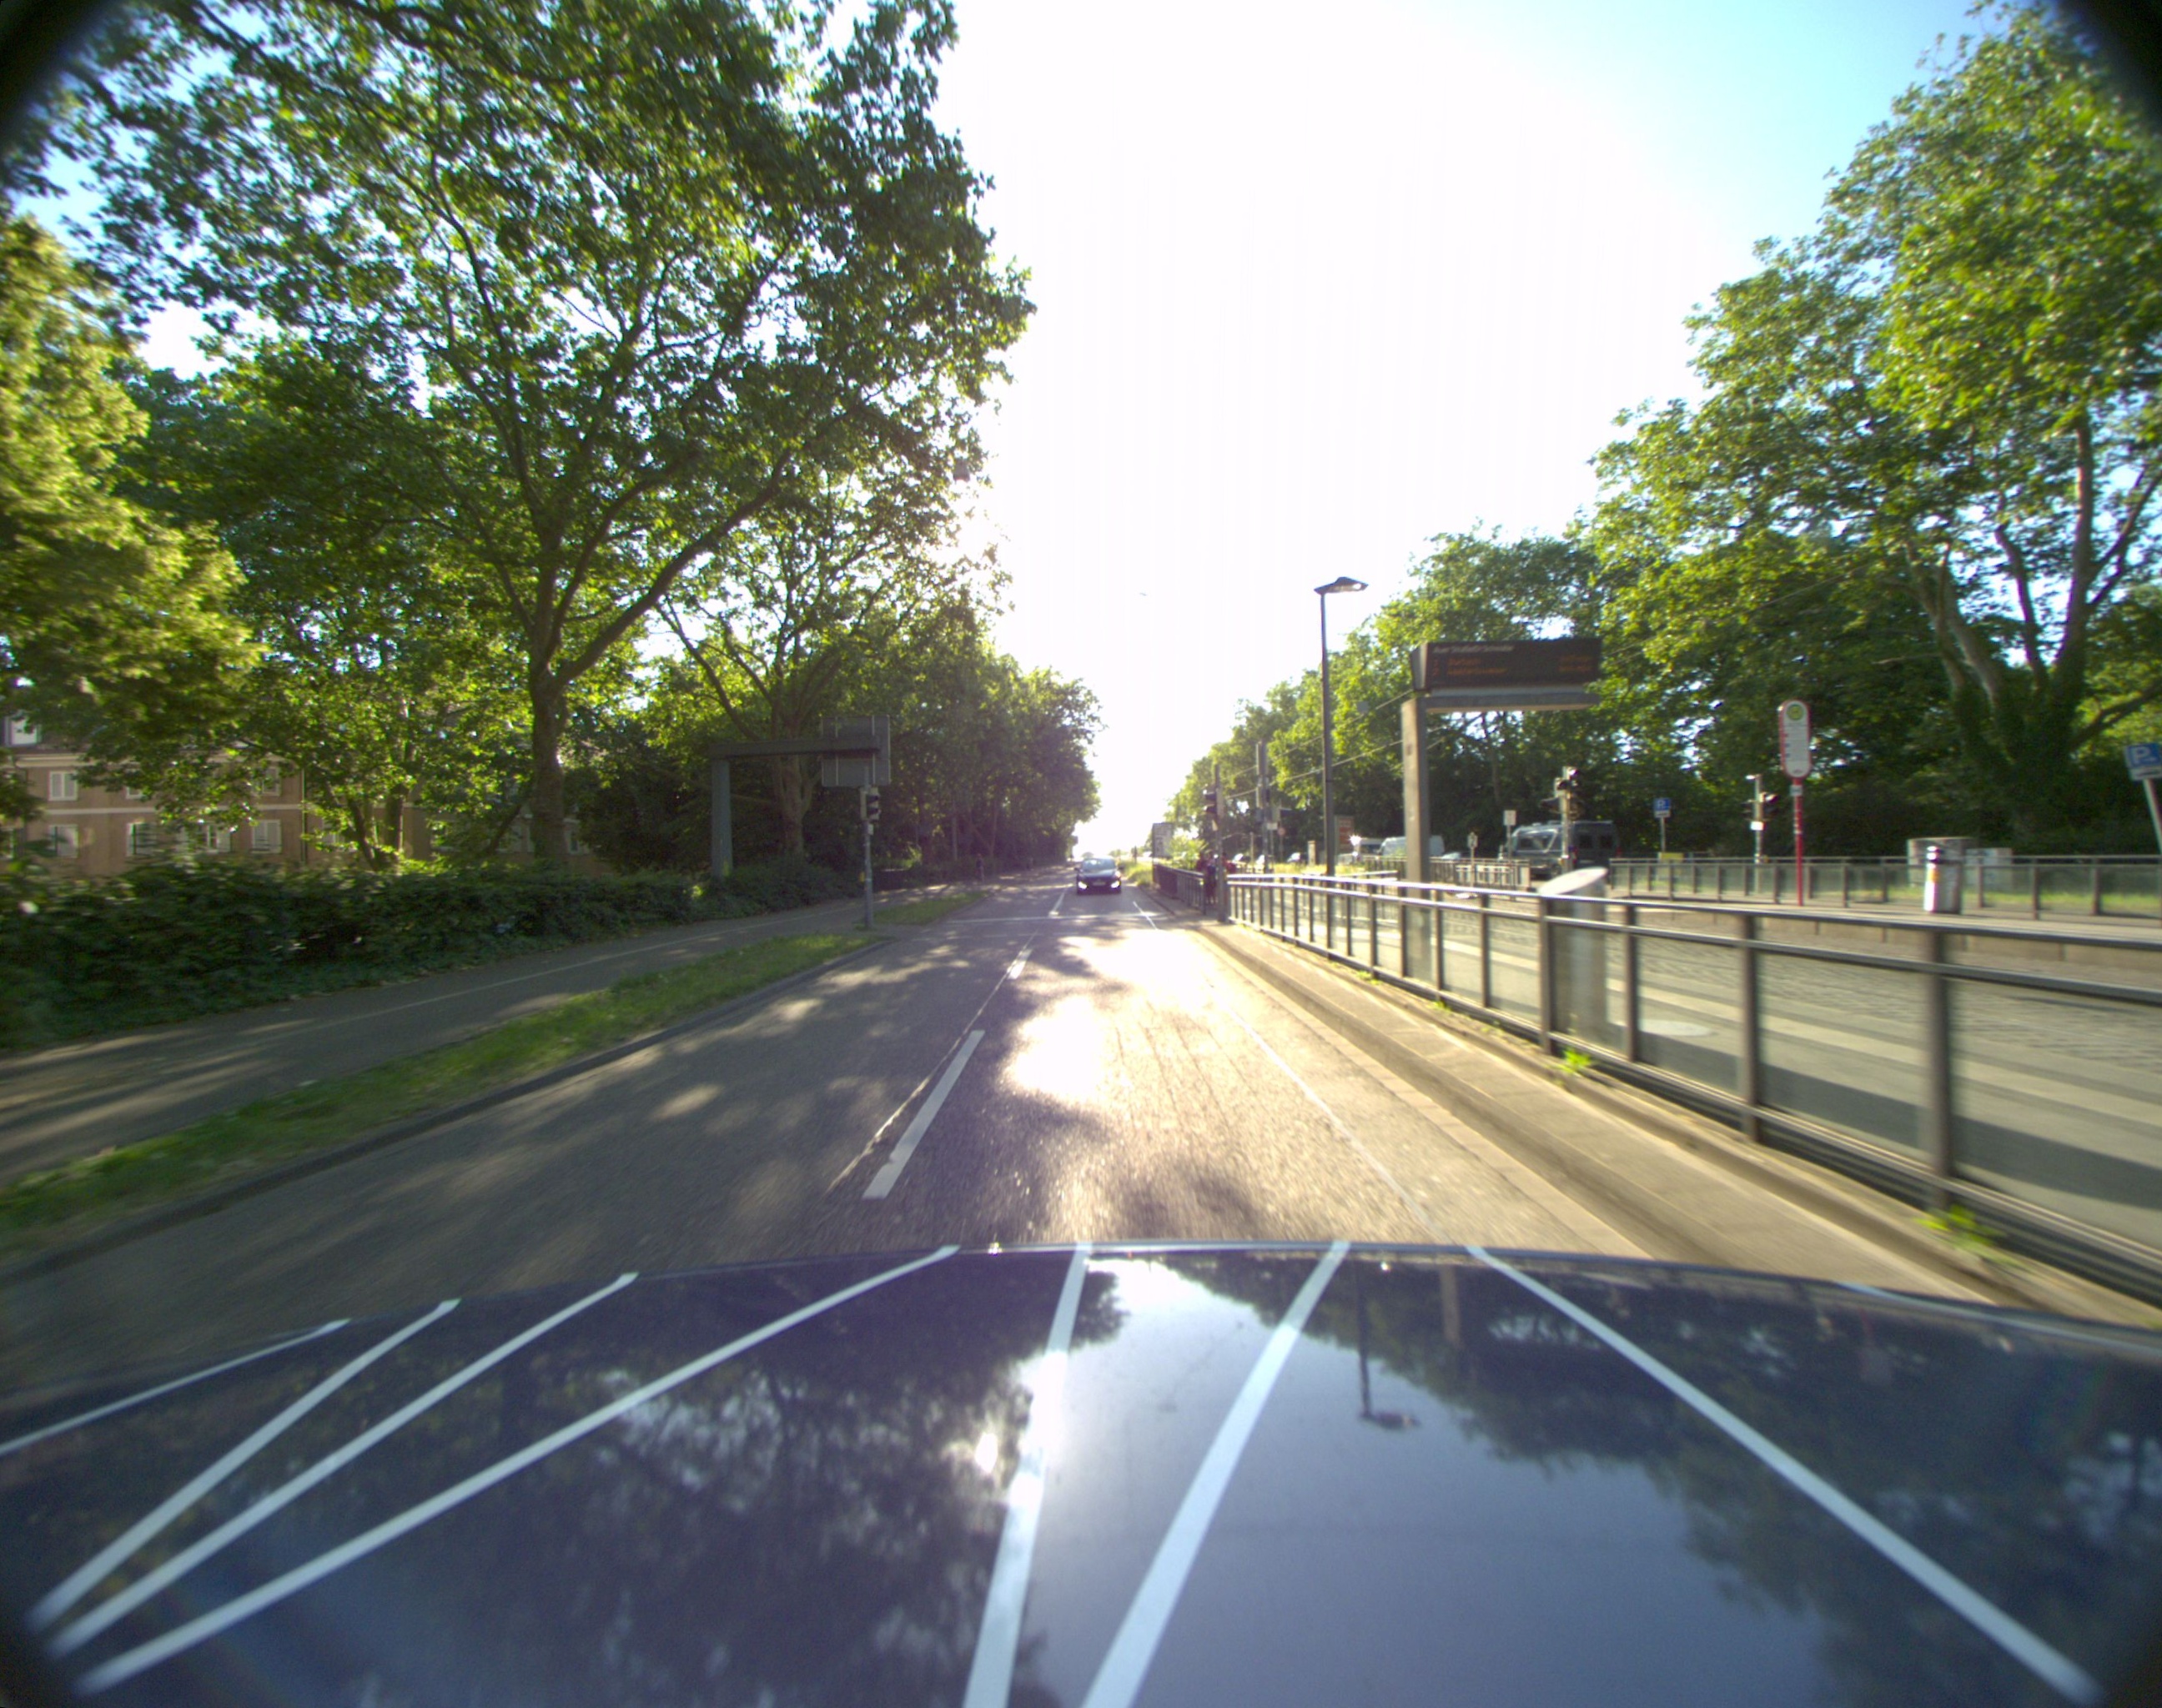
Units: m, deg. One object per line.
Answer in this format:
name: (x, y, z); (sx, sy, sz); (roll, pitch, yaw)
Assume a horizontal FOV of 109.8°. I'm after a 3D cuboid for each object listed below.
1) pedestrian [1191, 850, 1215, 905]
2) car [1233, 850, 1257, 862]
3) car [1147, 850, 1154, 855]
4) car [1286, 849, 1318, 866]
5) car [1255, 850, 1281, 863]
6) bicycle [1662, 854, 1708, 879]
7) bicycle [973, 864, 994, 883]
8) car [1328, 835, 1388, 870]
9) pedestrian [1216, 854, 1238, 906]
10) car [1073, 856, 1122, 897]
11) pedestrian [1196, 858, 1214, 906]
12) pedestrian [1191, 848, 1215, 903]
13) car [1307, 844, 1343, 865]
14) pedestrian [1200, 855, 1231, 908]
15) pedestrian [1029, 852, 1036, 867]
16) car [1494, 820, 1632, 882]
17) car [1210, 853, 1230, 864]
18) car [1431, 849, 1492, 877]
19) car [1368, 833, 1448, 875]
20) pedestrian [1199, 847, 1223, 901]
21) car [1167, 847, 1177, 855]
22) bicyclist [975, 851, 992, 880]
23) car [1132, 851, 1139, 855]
pedestrian: (3.440, 0.646, 21.387); (0.591, 1.511, 0.514); (1, 1, 1)
car: (20.074, 0.236, 93.121); (1.832, 1.428, 4.323); (0, 1, -1)
car: (20.569, -0.466, 223.496); (1.658, 1.491, 3.924); (0, 1, 0)
car: (20.455, 0.324, 70.366); (1.743, 1.546, 3.881); (0, 1, -1)
car: (20.289, 0.249, 82.495); (1.743, 1.428, 3.851); (0, 1, -1)
bicycle: (26.178, 0.512, 32.974); (0.583, 1.024, 1.863); (-1, 0, 3)
bicycle: (-5.840, 1.148, 45.546); (0.700, 1.101, 1.931); (-1, 0, 8)
car: (20.576, -0.153, 56.759); (2.189, 2.506, 6.048); (0, 1, -1)
pedestrian: (4.151, 0.733, 21.561); (0.521, 1.464, 0.514); (1, 1, 2)
car: (0.653, 0.859, 31.204); (1.799, 1.501, 4.000); (-3, 0, 1)
pedestrian: (3.400, 0.767, 20.898); (0.417, 1.313, 0.359); (1, 1, 1)
pedestrian: (3.544, 0.606, 21.991); (0.520, 1.559, 0.509); (1, 1, 31)
car: (20.665, 0.004, 64.402); (1.743, 1.718, 3.881); (0, 1, -1)
pedestrian: (3.594, 0.727, 20.300); (0.592, 1.398, 0.558); (0, 1, -20)
pedestrian: (-5.619, 0.639, 88.463); (0.649, 1.626, 0.928); (1, 1, 2)
car: (21.068, -0.152, 33.645); (2.189, 2.506, 6.031); (0, 1, -1)
car: (19.522, 0.583, 106.981); (1.832, 1.497, 4.393); (0, 1, -1)
car: (21.094, 0.484, 42.237); (1.656, 1.504, 3.264); (0, 1, -2)
car: (20.886, -0.035, 48.856); (2.189, 2.506, 6.269); (0, 1, -3)
pedestrian: (3.831, 0.586, 22.393); (0.520, 1.559, 0.509); (1, 1, 31)
car: (20.324, -0.608, 169.682); (1.734, 1.730, 3.899); (0, 1, -1)
bicyclist: (-5.844, 0.674, 45.617); (0.700, 1.718, 1.081); (-1, 0, 8)
car: (17.932, -0.398, 251.838); (1.925, 1.407, 4.748); (1, 1, 0)
